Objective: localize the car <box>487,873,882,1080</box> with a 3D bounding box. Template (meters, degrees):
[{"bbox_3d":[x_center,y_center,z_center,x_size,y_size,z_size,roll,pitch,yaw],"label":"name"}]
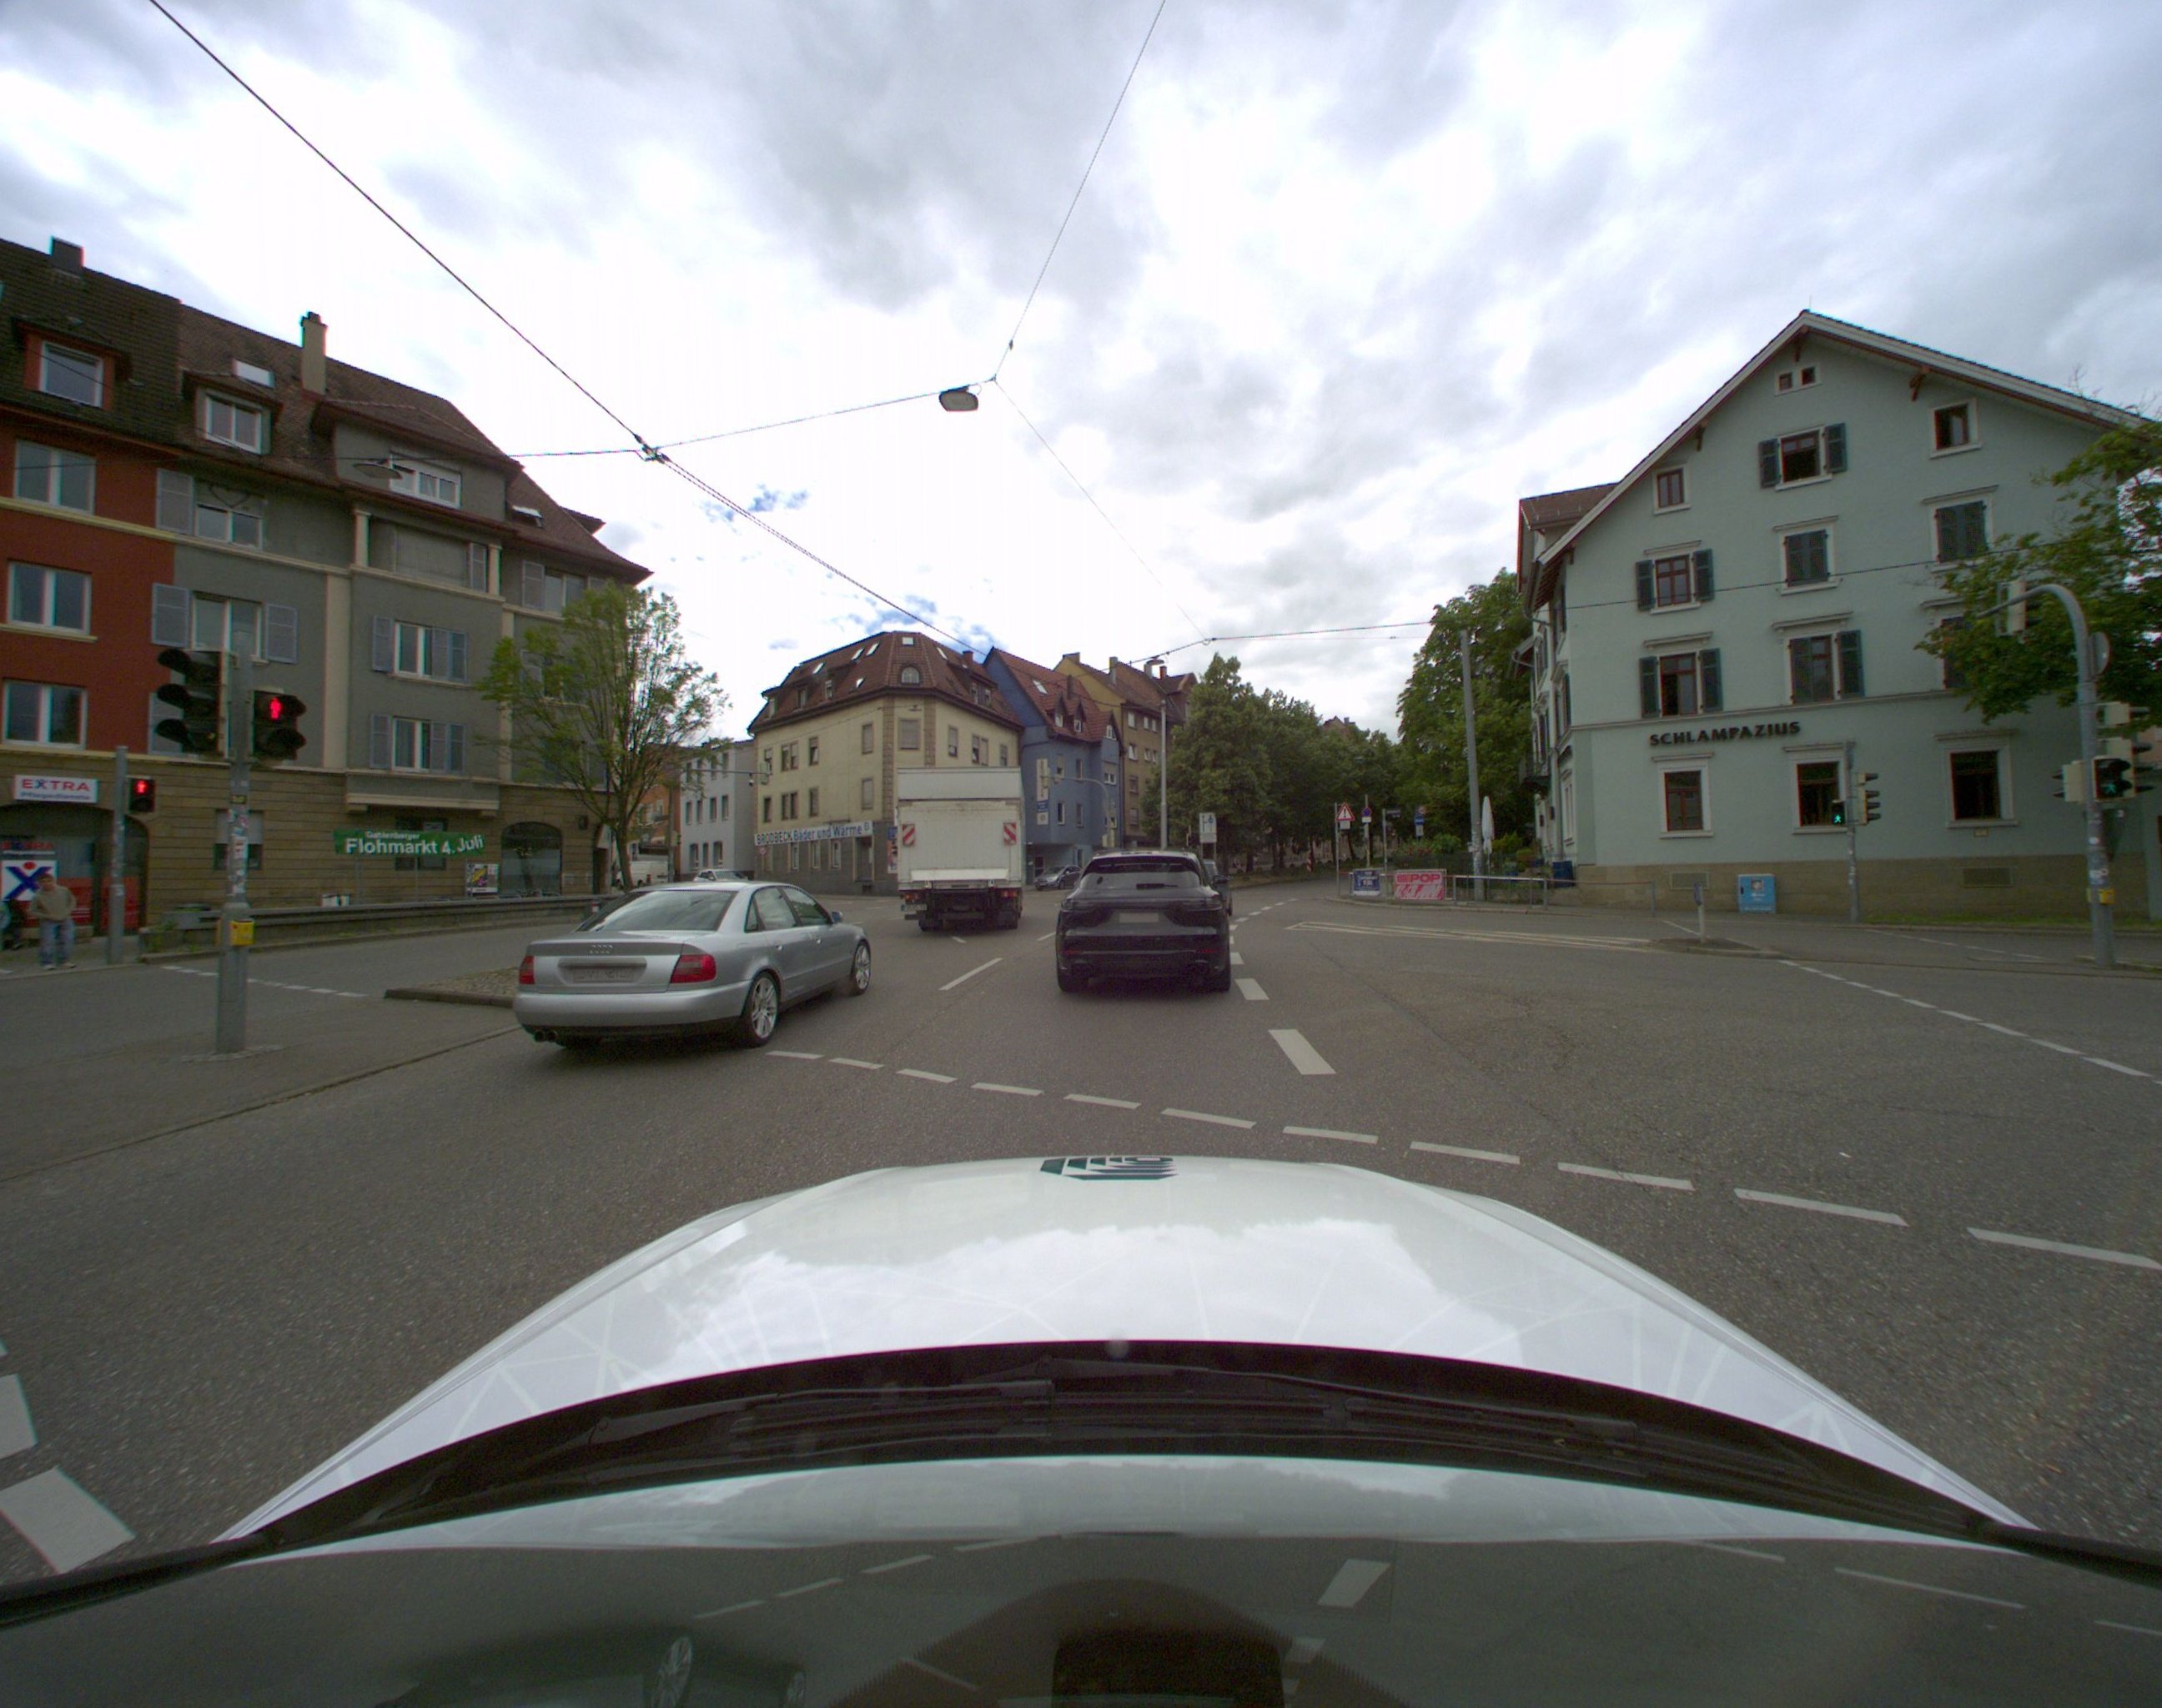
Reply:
[{"bbox_3d":[-3.348,0.922,7.897,1.622,1.365,4.131,1,0,3],"label":"car"}]

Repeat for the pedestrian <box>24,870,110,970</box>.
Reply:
[{"bbox_3d":[-15.682,1.002,12.605,0.519,1.487,0.656,0,0,12],"label":"pedestrian"}]

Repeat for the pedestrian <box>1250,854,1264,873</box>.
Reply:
[{"bbox_3d":[18.724,1.047,86.748,1.181,2.014,0.995,-1,-1,29],"label":"pedestrian"}]

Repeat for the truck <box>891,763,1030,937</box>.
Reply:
[{"bbox_3d":[-2.717,-0.058,20.810,2.719,3.544,8.411,0,0,-3],"label":"truck"}]

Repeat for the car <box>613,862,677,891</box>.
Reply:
[{"bbox_3d":[-28.628,1.428,53.417,4.280,1.799,2.078,-1,0,36],"label":"car"}]

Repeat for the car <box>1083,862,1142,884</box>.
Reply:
[{"bbox_3d":[2.159,1.290,54.892,1.852,1.416,4.727,-2,-2,31],"label":"car"}]

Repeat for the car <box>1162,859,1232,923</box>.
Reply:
[{"bbox_3d":[3.192,0.934,21.946,1.638,1.556,3.594,0,-1,12],"label":"car"}]

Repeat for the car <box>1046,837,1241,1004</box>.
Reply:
[{"bbox_3d":[0.883,0.697,10.756,2.021,1.723,4.507,0,0,6],"label":"car"}]

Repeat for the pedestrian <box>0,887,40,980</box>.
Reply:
[{"bbox_3d":[-15.936,1.165,11.965,0.570,1.338,0.586,-1,0,12],"label":"pedestrian"}]

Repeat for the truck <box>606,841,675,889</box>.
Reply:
[{"bbox_3d":[-32.638,0.788,60.241,5.369,3.354,2.716,0,-1,41],"label":"truck"}]

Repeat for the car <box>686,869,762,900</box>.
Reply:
[{"bbox_3d":[-17.960,1.506,40.916,3.924,1.470,1.892,-2,-2,40],"label":"car"}]

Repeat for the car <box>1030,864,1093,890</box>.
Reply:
[{"bbox_3d":[-1.118,1.363,49.044,1.700,1.476,4.245,-3,-2,32],"label":"car"}]
